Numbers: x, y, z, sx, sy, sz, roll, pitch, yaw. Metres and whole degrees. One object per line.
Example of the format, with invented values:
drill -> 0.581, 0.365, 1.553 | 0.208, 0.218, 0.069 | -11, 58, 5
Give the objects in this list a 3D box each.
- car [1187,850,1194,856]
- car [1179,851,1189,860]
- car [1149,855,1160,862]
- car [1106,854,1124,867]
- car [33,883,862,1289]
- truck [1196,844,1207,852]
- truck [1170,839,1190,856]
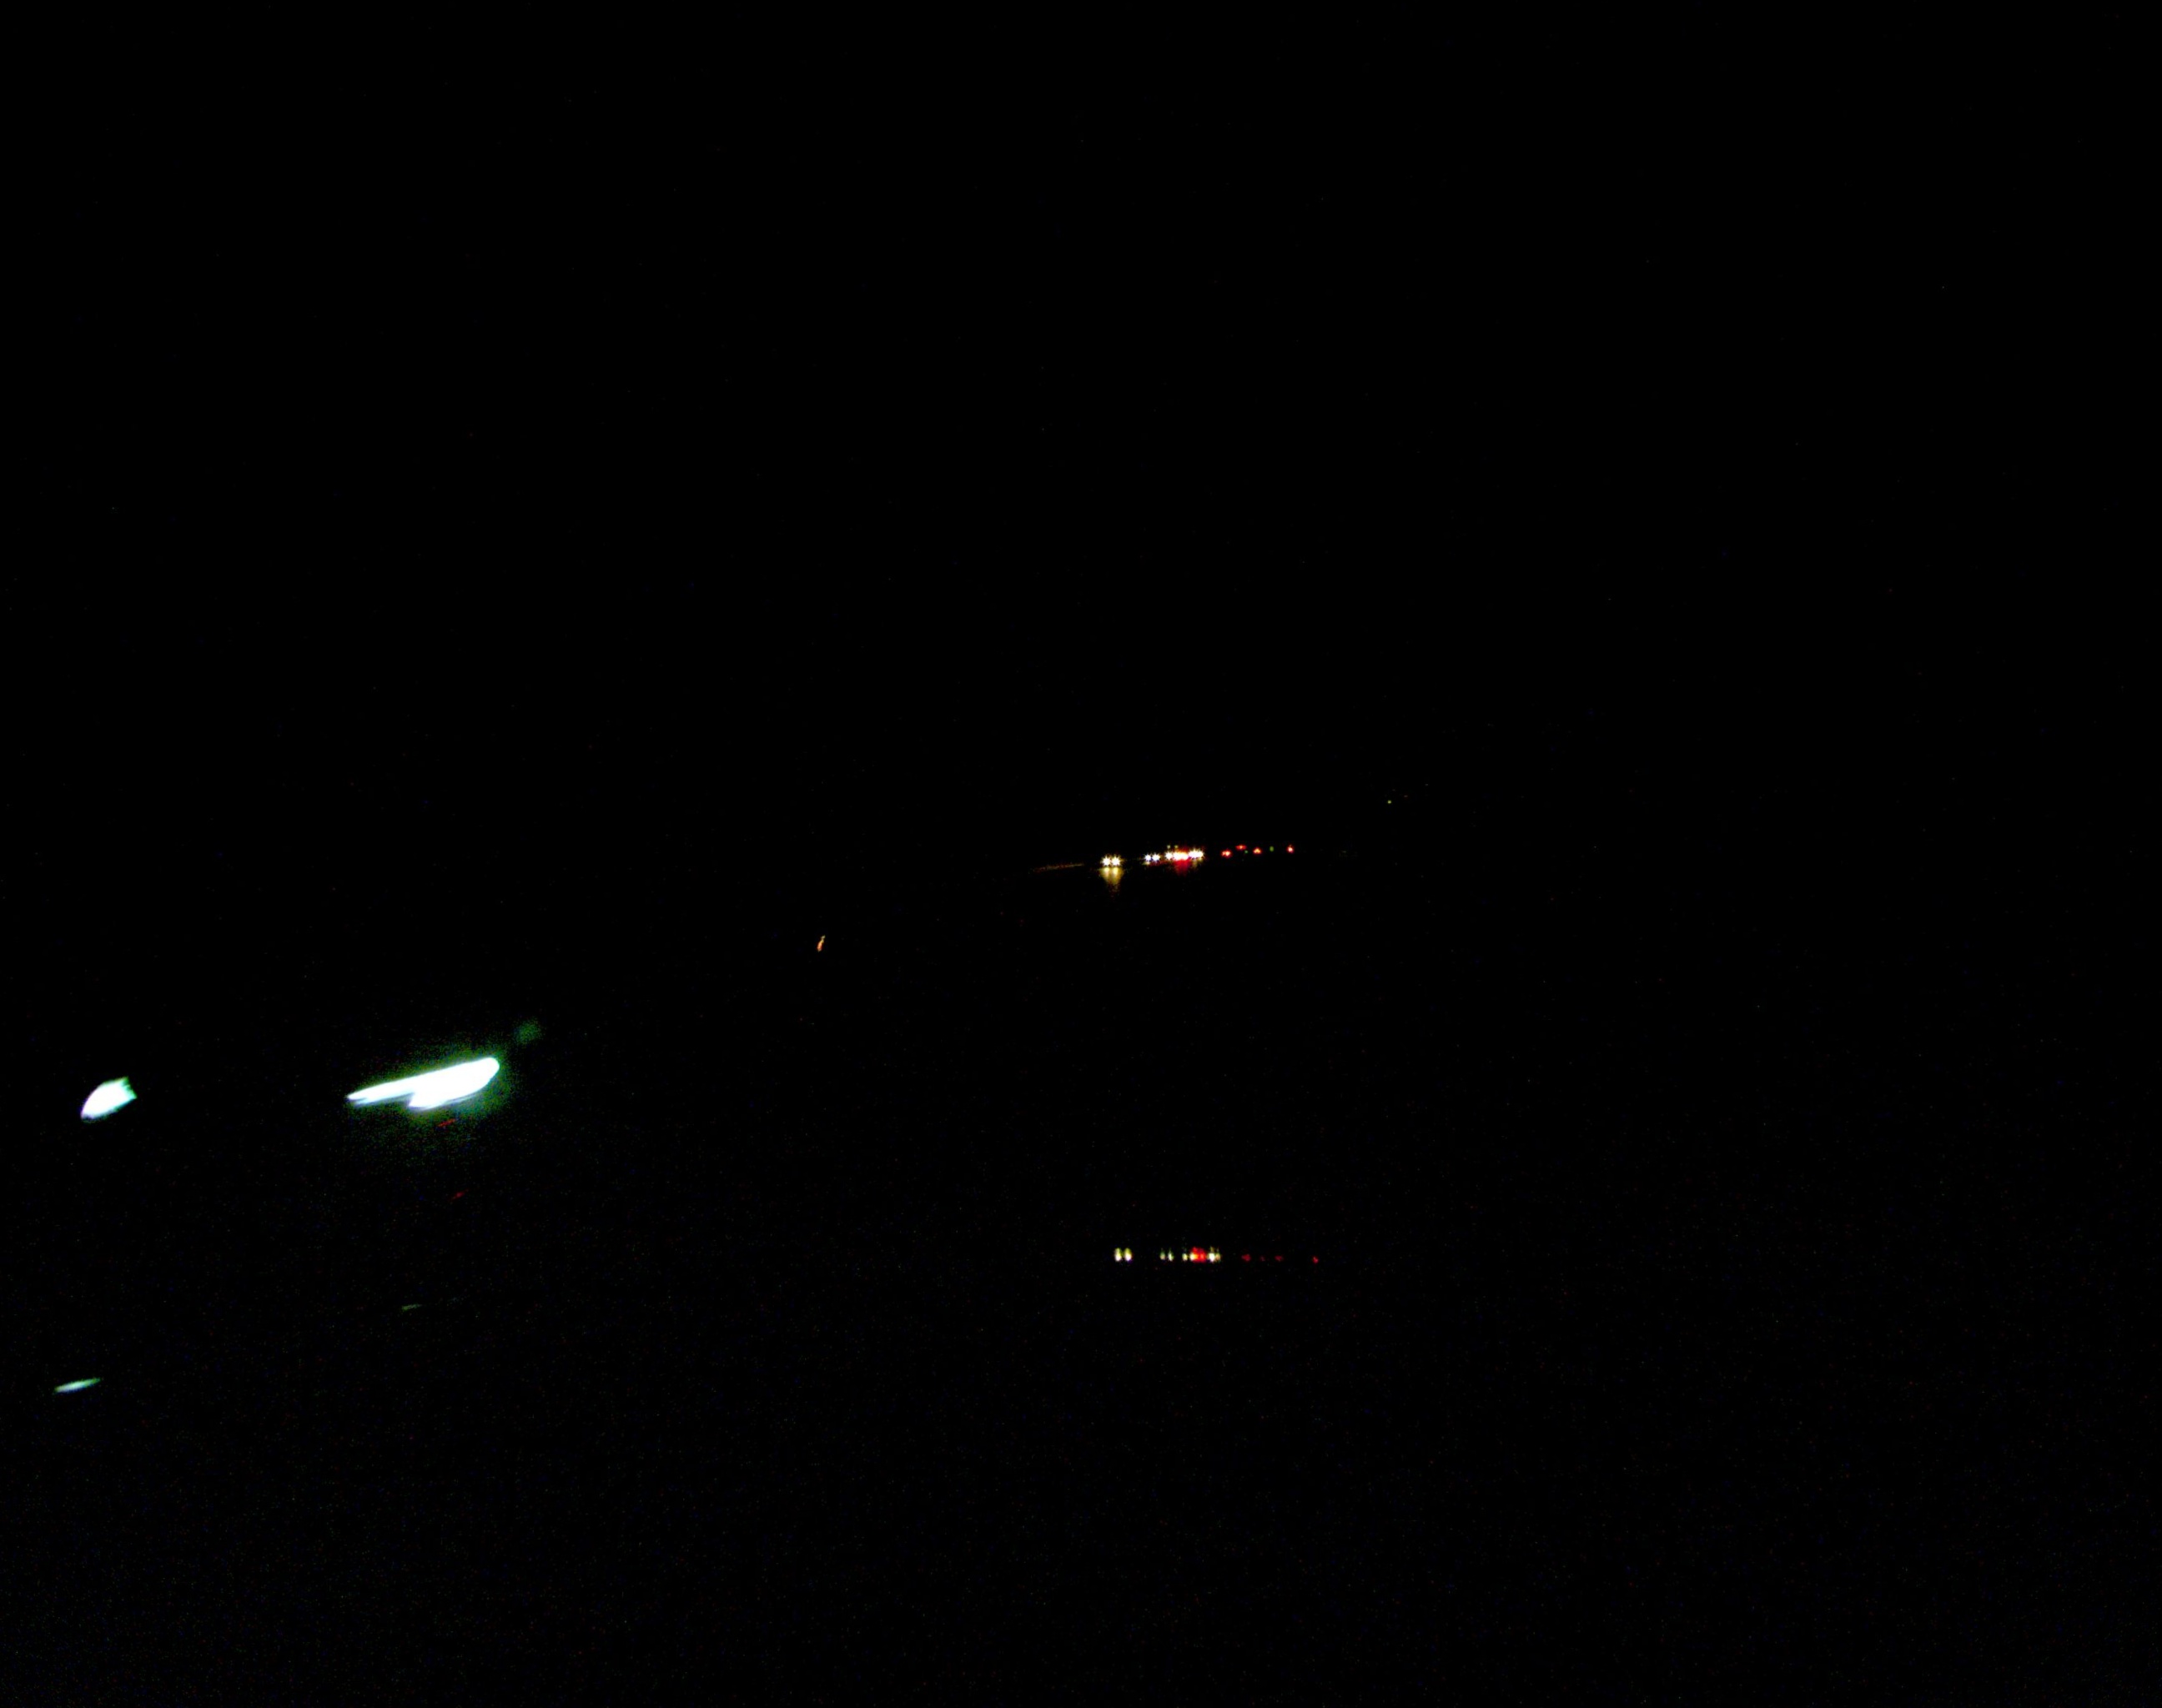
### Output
car -> 32.667, -0.364, 226.861 | 1.690, 1.619, 4.726 | 0, 0, 10
car -> 19.168, 0.223, 141.627 | 1.822, 1.507, 4.525 | 0, 1, 8
car -> 14.426, 0.869, 148.910 | 1.811, 1.508, 3.939 | 0, 0, 11
car -> 4.285, 0.826, 95.558 | 1.811, 1.508, 3.938 | 0, 0, 8
car -> -3.194, 1.006, 5.426 | 1.812, 1.418, 4.874 | 0, 0, 0
truck -> 35.071, -1.772, 220.902 | 2.423, 2.410, 7.099 | 0, 1, 16
truck -> 26.735, -1.779, 204.222 | 2.968, 4.251, 17.161 | 0, 1, 16
